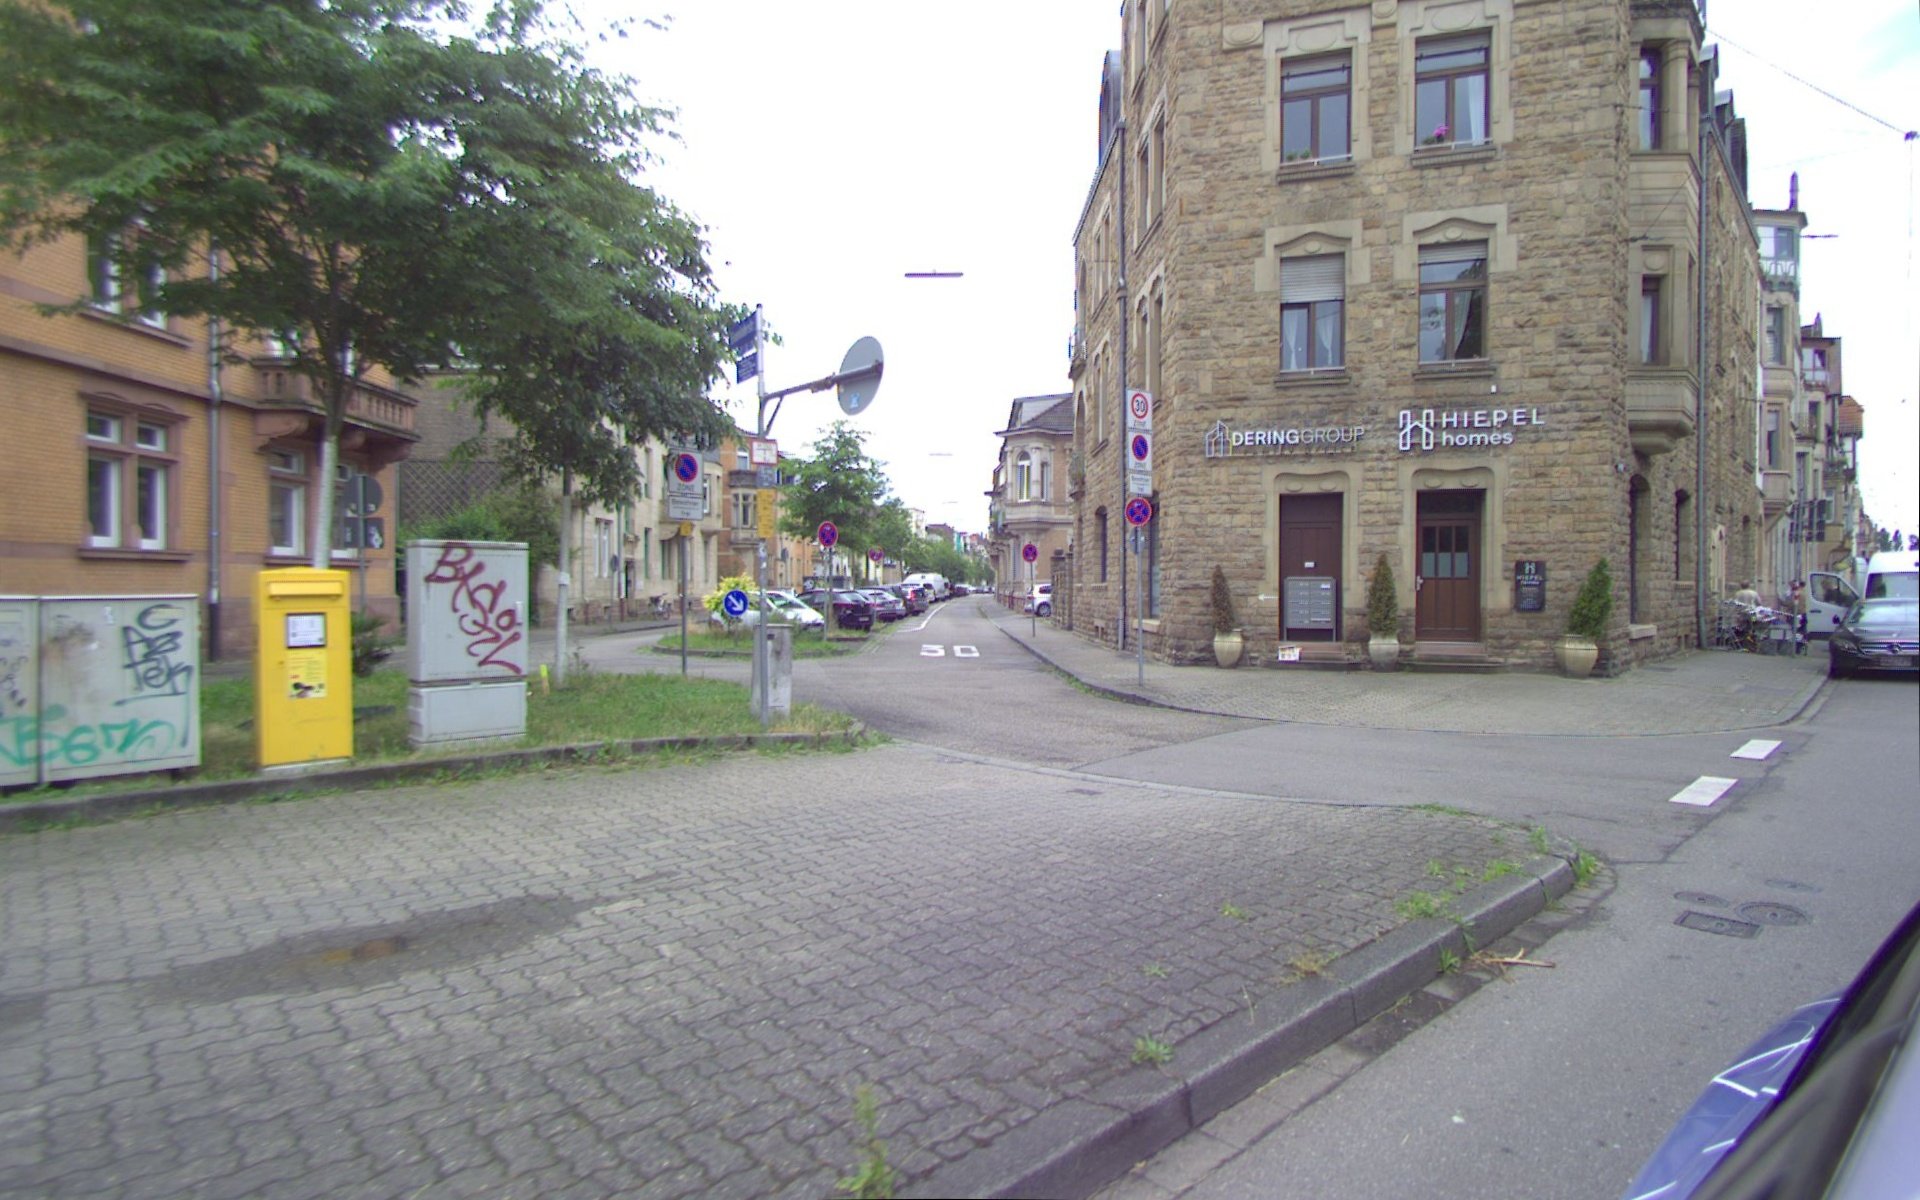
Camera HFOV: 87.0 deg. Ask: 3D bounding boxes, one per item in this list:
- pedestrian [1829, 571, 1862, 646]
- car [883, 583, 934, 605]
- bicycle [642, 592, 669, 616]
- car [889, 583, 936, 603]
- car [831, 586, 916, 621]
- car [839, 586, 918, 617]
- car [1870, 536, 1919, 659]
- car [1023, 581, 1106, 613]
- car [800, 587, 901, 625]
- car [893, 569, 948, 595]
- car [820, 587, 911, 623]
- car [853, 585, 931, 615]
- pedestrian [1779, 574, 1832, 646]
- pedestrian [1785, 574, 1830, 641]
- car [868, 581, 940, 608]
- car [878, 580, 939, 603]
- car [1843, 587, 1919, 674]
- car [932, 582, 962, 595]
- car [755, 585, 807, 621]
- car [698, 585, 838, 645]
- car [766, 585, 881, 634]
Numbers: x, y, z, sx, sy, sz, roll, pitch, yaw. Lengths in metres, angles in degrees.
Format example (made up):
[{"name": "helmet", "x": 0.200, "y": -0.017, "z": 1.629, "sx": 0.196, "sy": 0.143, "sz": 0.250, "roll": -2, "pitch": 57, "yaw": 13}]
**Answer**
[{"name": "pedestrian", "x": 22.286, "y": 0.197, "z": 25.468, "sx": 0.499, "sy": 1.837, "sz": 0.790, "roll": 3, "pitch": 2, "yaw": 45}, {"name": "car", "x": -3.747, "y": -0.466, "z": 73.098, "sx": 1.851, "sy": 1.529, "sz": 4.044, "roll": -1, "pitch": 1, "yaw": -34}, {"name": "bicycle", "x": -13.428, "y": 0.157, "z": 44.729, "sx": 0.558, "sy": 1.015, "sz": 1.777, "roll": 0, "pitch": 1, "yaw": 4}, {"name": "car", "x": -3.823, "y": -0.602, "z": 80.950, "sx": 1.851, "sy": 1.529, "sz": 4.044, "roll": -1, "pitch": 1, "yaw": -34}, {"name": "car", "x": -4.228, "y": 0.143, "z": 49.193, "sx": 4.022, "sy": 1.551, "sz": 1.732, "roll": 2, "pitch": 2, "yaw": 38}, {"name": "car", "x": -4.274, "y": 0.064, "z": 52.683, "sx": 4.022, "sy": 1.451, "sz": 1.732, "roll": 2, "pitch": 2, "yaw": 38}, {"name": "car", "x": 22.660, "y": -0.103, "z": 23.461, "sx": 2.013, "sy": 2.581, "sz": 6.905, "roll": -2, "pitch": -1, "yaw": 44}, {"name": "car", "x": 5.080, "y": -0.143, "z": 49.576, "sx": 3.971, "sy": 1.451, "sz": 1.754, "roll": 1, "pitch": 1, "yaw": 4}, {"name": "car", "x": -4.621, "y": 0.215, "z": 42.747, "sx": 4.009, "sy": 1.451, "sz": 1.737, "roll": 2, "pitch": 2, "yaw": 30}, {"name": "car", "x": -3.979, "y": -1.761, "z": 100.771, "sx": 5.296, "sy": 2.534, "sz": 2.317, "roll": 1, "pitch": 1, "yaw": 38}, {"name": "car", "x": -4.328, "y": 0.203, "z": 45.963, "sx": 4.022, "sy": 1.451, "sz": 1.732, "roll": 2, "pitch": 2, "yaw": 38}, {"name": "car", "x": -3.752, "y": -0.043, "z": 55.613, "sx": 4.022, "sy": 1.529, "sz": 1.862, "roll": 2, "pitch": 2, "yaw": 38}, {"name": "pedestrian", "x": 20.966, "y": 0.234, "z": 25.103, "sx": 0.858, "sy": 1.721, "sz": 0.532, "roll": 2, "pitch": 2, "yaw": 30}, {"name": "pedestrian", "x": 22.230, "y": 0.191, "z": 26.551, "sx": 0.695, "sy": 1.721, "sz": 0.490, "roll": 2, "pitch": 2, "yaw": 16}, {"name": "car", "x": -3.284, "y": -0.362, "z": 59.302, "sx": 4.021, "sy": 1.529, "sz": 1.862, "roll": 1, "pitch": 1, "yaw": 38}, {"name": "car", "x": -4.700, "y": -0.795, "z": 91.755, "sx": 5.296, "sy": 2.048, "sz": 2.317, "roll": 1, "pitch": 1, "yaw": 38}, {"name": "car", "x": 18.094, "y": 0.501, "z": 19.118, "sx": 1.824, "sy": 1.468, "sz": 4.927, "roll": -1, "pitch": 0, "yaw": 44}, {"name": "car", "x": -1.624, "y": -1.407, "z": 124.767, "sx": 1.851, "sy": 1.529, "sz": 4.044, "roll": -1, "pitch": 1, "yaw": -34}, {"name": "car", "x": -8.099, "y": 0.110, "z": 46.088, "sx": 1.721, "sy": 1.451, "sz": 4.046, "roll": 1, "pitch": 2, "yaw": -1}, {"name": "car", "x": -5.213, "y": 0.350, "z": 27.379, "sx": 3.516, "sy": 1.451, "sz": 1.688, "roll": 2, "pitch": 2, "yaw": 32}, {"name": "car", "x": -4.470, "y": 0.274, "z": 32.970, "sx": 3.520, "sy": 1.451, "sz": 1.686, "roll": 2, "pitch": 2, "yaw": 35}]
